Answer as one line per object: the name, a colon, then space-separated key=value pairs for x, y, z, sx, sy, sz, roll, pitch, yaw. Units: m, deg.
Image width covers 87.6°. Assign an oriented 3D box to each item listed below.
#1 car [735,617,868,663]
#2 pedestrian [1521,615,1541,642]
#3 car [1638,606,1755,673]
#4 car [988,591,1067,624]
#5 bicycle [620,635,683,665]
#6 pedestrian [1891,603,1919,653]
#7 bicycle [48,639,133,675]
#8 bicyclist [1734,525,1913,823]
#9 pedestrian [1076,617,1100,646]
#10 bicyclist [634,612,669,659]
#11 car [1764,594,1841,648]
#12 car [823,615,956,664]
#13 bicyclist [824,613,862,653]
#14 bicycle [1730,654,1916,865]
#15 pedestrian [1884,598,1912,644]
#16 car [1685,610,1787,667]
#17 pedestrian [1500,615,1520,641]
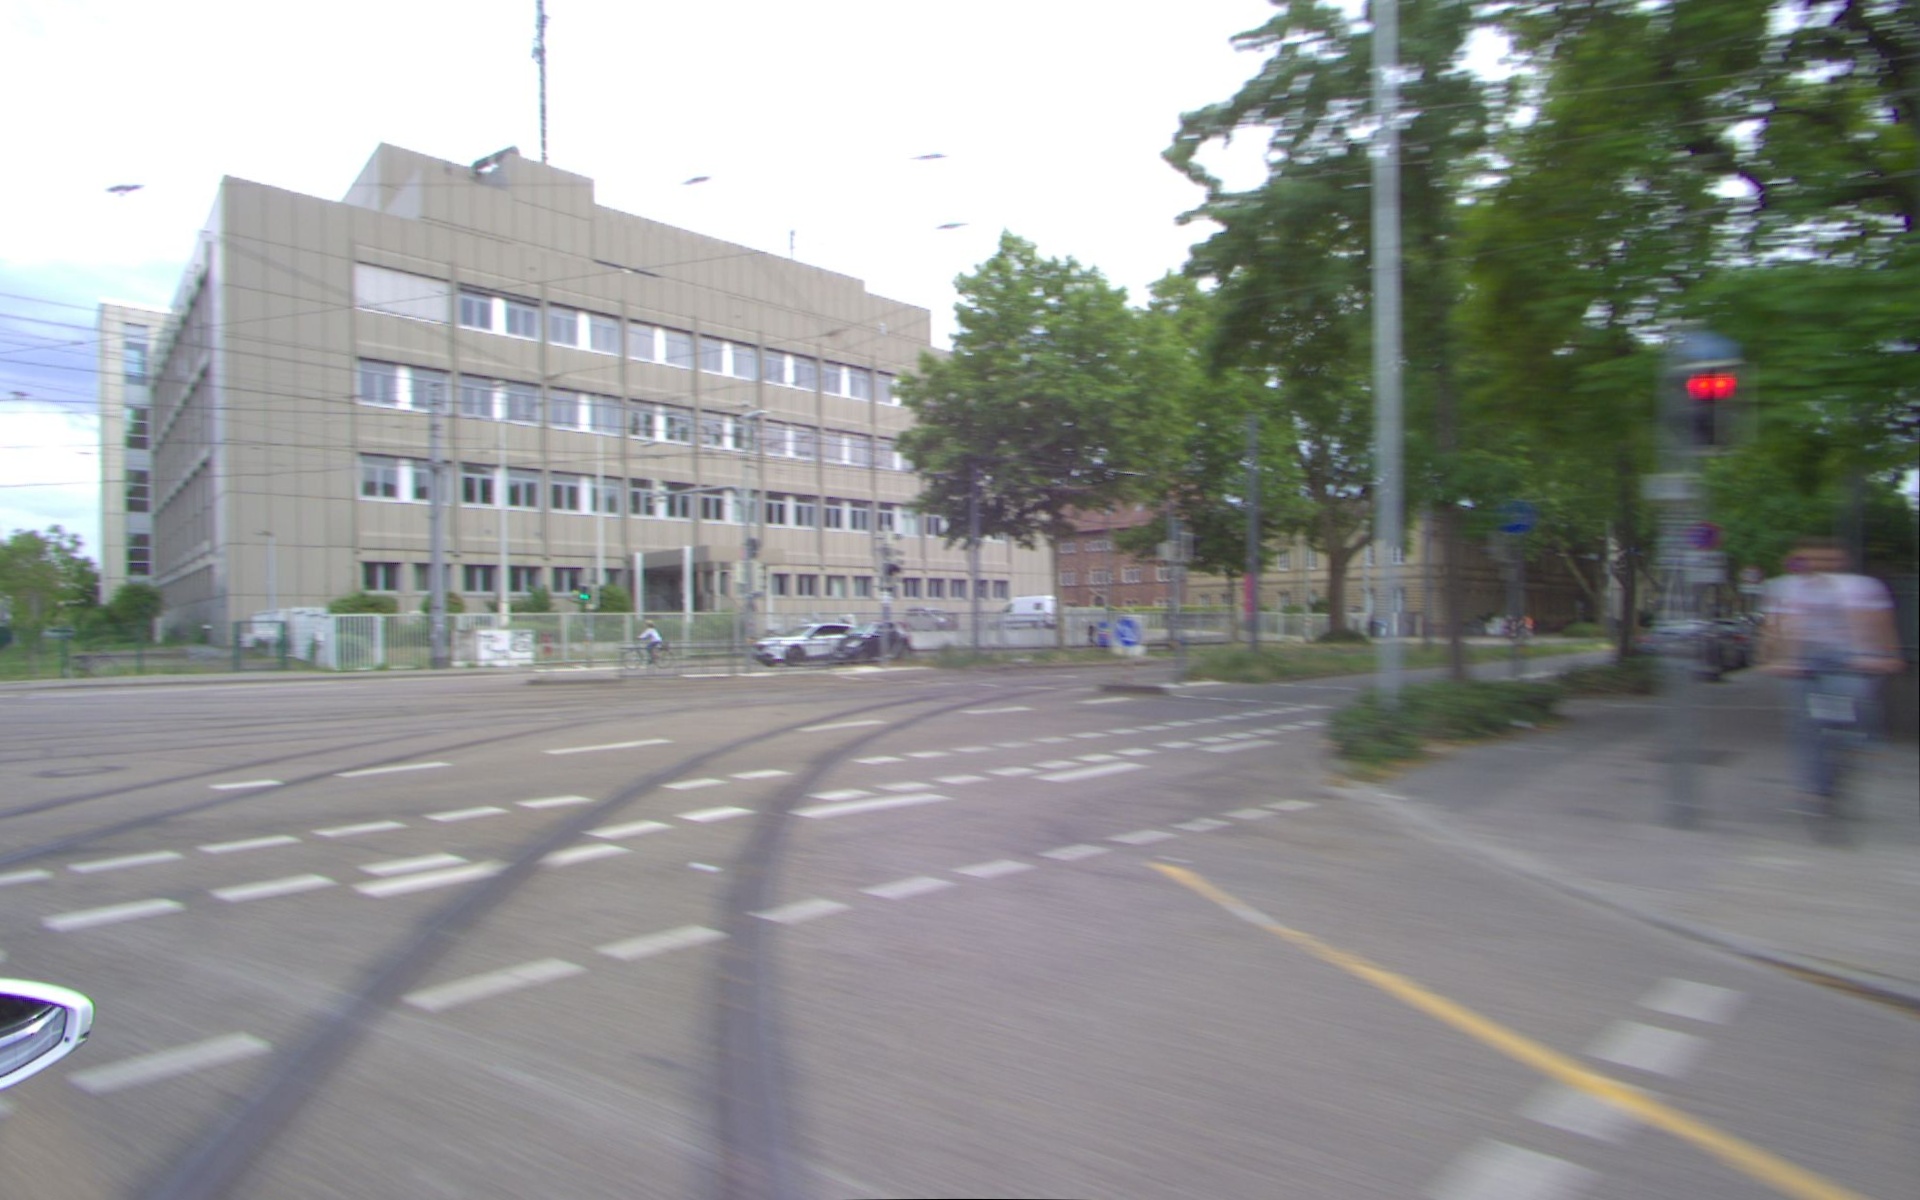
car: x=-5.623 y=1.382 z=35.839 sx=4.374 sy=1.524 sz=1.982 roll=1 pitch=-1 yaw=-42
pedestrian: x=40.327 y=1.985 z=70.719 sx=1.235 sy=1.889 sz=0.831 roll=0 pitch=-1 yaw=-35
car: x=19.053 y=0.984 z=25.824 sx=4.377 sy=1.581 sz=1.720 roll=1 pitch=-1 yaw=-44
car: x=5.164 y=0.638 z=77.156 sx=5.839 sy=2.430 sz=2.545 roll=-1 pitch=-2 yaw=45
bicycle: x=-11.459 y=1.850 z=37.291 sx=2.144 sy=1.100 sz=0.802 roll=1 pitch=-1 yaw=-11
pedestrian: x=32.314 y=0.947 z=34.183 sx=0.758 sy=1.672 sz=0.761 roll=0 pitch=0 yaw=-44
bicycle: x=-27.501 y=1.788 z=31.682 sx=2.117 sy=0.993 sz=0.634 roll=-3 pitch=0 yaw=1
bicyclist: x=5.793 y=0.448 z=6.700 sx=1.240 sy=1.783 sz=0.741 roll=-2 pitch=0 yaw=-44
pedestrian: x=7.152 y=1.729 z=55.893 sx=0.968 sy=1.590 sz=0.877 roll=0 pitch=0 yaw=-37
bicyclist: x=-11.490 y=1.327 z=37.301 sx=1.160 sy=1.723 sz=0.802 roll=0 pitch=-1 yaw=-11
car: x=36.404 y=0.918 z=43.235 sx=4.377 sy=2.218 sz=2.078 roll=1 pitch=-1 yaw=-44
car: x=-2.399 y=1.329 z=34.609 sx=4.370 sy=1.587 sz=1.822 roll=1 pitch=-1 yaw=-39
bicyclist: x=-4.662 y=1.305 z=39.925 sx=1.314 sy=1.570 sz=0.796 roll=0 pitch=-1 yaw=-40
bicycle: x=5.826 y=0.971 z=6.717 sx=1.996 sy=1.100 sz=0.744 roll=-2 pitch=-1 yaw=-44
pedestrian: x=37.295 y=0.826 z=39.804 sx=0.758 sy=1.804 sz=0.762 roll=0 pitch=0 yaw=-43
car: x=22.622 y=1.080 z=29.124 sx=4.377 sy=1.556 sz=1.743 roll=1 pitch=-1 yaw=-44
pedestrian: x=39.321 y=2.002 z=71.590 sx=1.160 sy=1.889 sz=0.831 roll=0 pitch=-1 yaw=-34
